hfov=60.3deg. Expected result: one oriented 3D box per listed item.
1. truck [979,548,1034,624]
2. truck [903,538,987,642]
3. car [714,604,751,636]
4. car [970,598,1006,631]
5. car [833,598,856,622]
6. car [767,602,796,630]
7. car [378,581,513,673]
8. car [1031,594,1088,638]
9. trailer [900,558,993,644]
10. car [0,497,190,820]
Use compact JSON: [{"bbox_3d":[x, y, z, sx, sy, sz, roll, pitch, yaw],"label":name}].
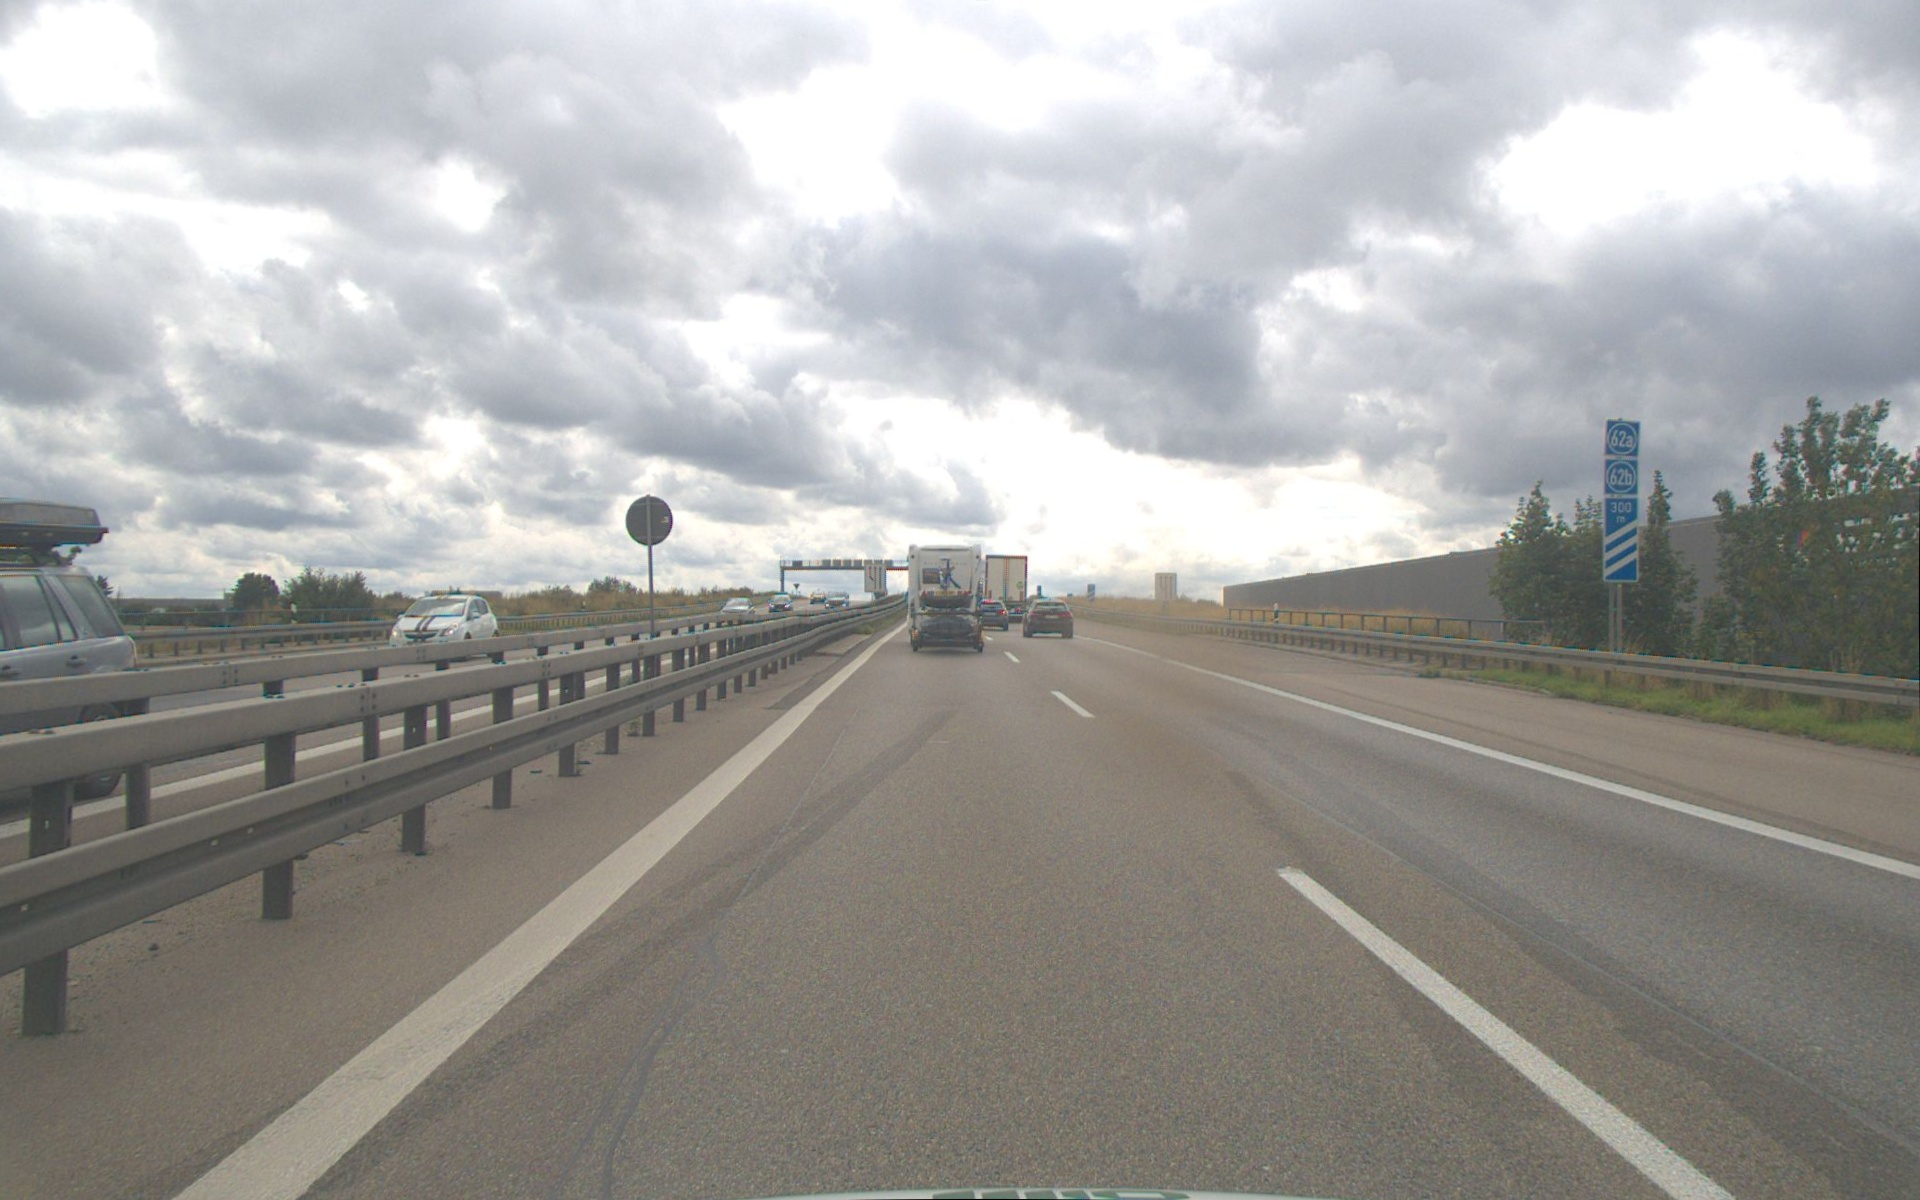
[{"bbox_3d":[2.852,-0.784,103.276,3.180,4.605,7.064,0,-1,-1],"label":"truck"},{"bbox_3d":[-0.451,-0.240,50.839,2.431,3.002,5.814,0,-1,0],"label":"truck"},{"bbox_3d":[-13.356,1.169,97.281,1.716,1.817,3.999,0,-1,-1],"label":"car"},{"bbox_3d":[1.327,0.713,78.847,1.657,1.547,3.999,0,-1,0],"label":"car"},{"bbox_3d":[-9.537,0.871,136.926,1.679,1.932,3.999,0,-1,-1],"label":"car"},{"bbox_3d":[-13.357,1.197,123.963,1.855,2.049,3.999,0,-1,-1],"label":"car"},{"bbox_3d":[-11.967,0.630,38.777,1.954,2.049,4.381,0,-1,-3],"label":"car"},{"bbox_3d":[3.803,0.628,63.717,1.844,1.649,3.999,0,-1,-1],"label":"car"},{"bbox_3d":[-0.303,0.058,43.833,2.290,2.174,4.000,0,-1,2],"label":"trailer"},{"bbox_3d":[-7.089,0.354,11.066,1.954,2.049,4.381,1,0,-3],"label":"car"}]
